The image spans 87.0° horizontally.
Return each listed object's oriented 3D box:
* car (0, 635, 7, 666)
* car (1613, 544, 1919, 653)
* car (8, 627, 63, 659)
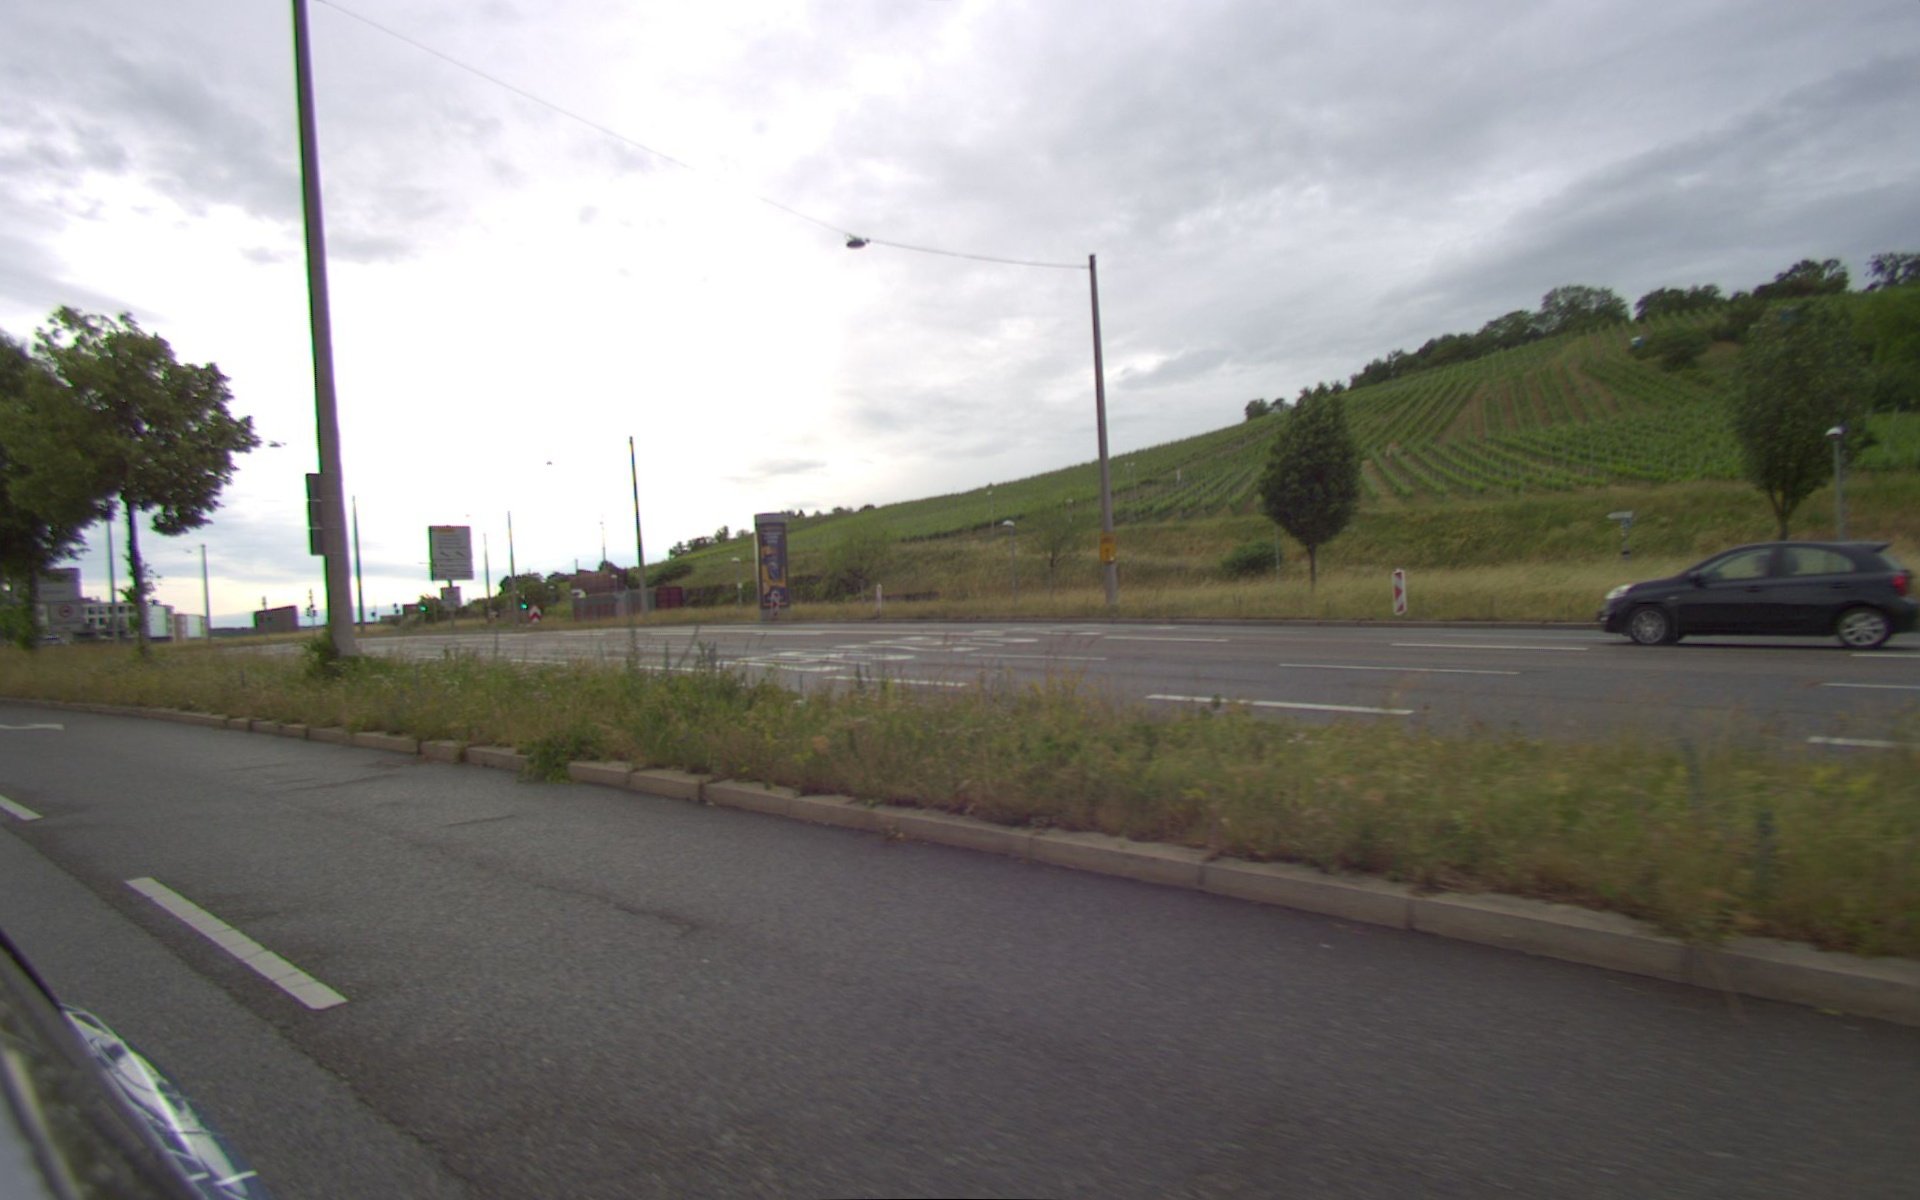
[{"bbox_3d":[-54.577,2.889,56.045,4.349,1.666,1.861,-3,0,37],"label":"car"},{"bbox_3d":[11.883,-0.078,14.484,4.002,1.394,1.747,1,3,45],"label":"car"},{"bbox_3d":[-55.554,2.600,60.782,3.994,1.763,1.751,-3,0,38],"label":"car"}]
